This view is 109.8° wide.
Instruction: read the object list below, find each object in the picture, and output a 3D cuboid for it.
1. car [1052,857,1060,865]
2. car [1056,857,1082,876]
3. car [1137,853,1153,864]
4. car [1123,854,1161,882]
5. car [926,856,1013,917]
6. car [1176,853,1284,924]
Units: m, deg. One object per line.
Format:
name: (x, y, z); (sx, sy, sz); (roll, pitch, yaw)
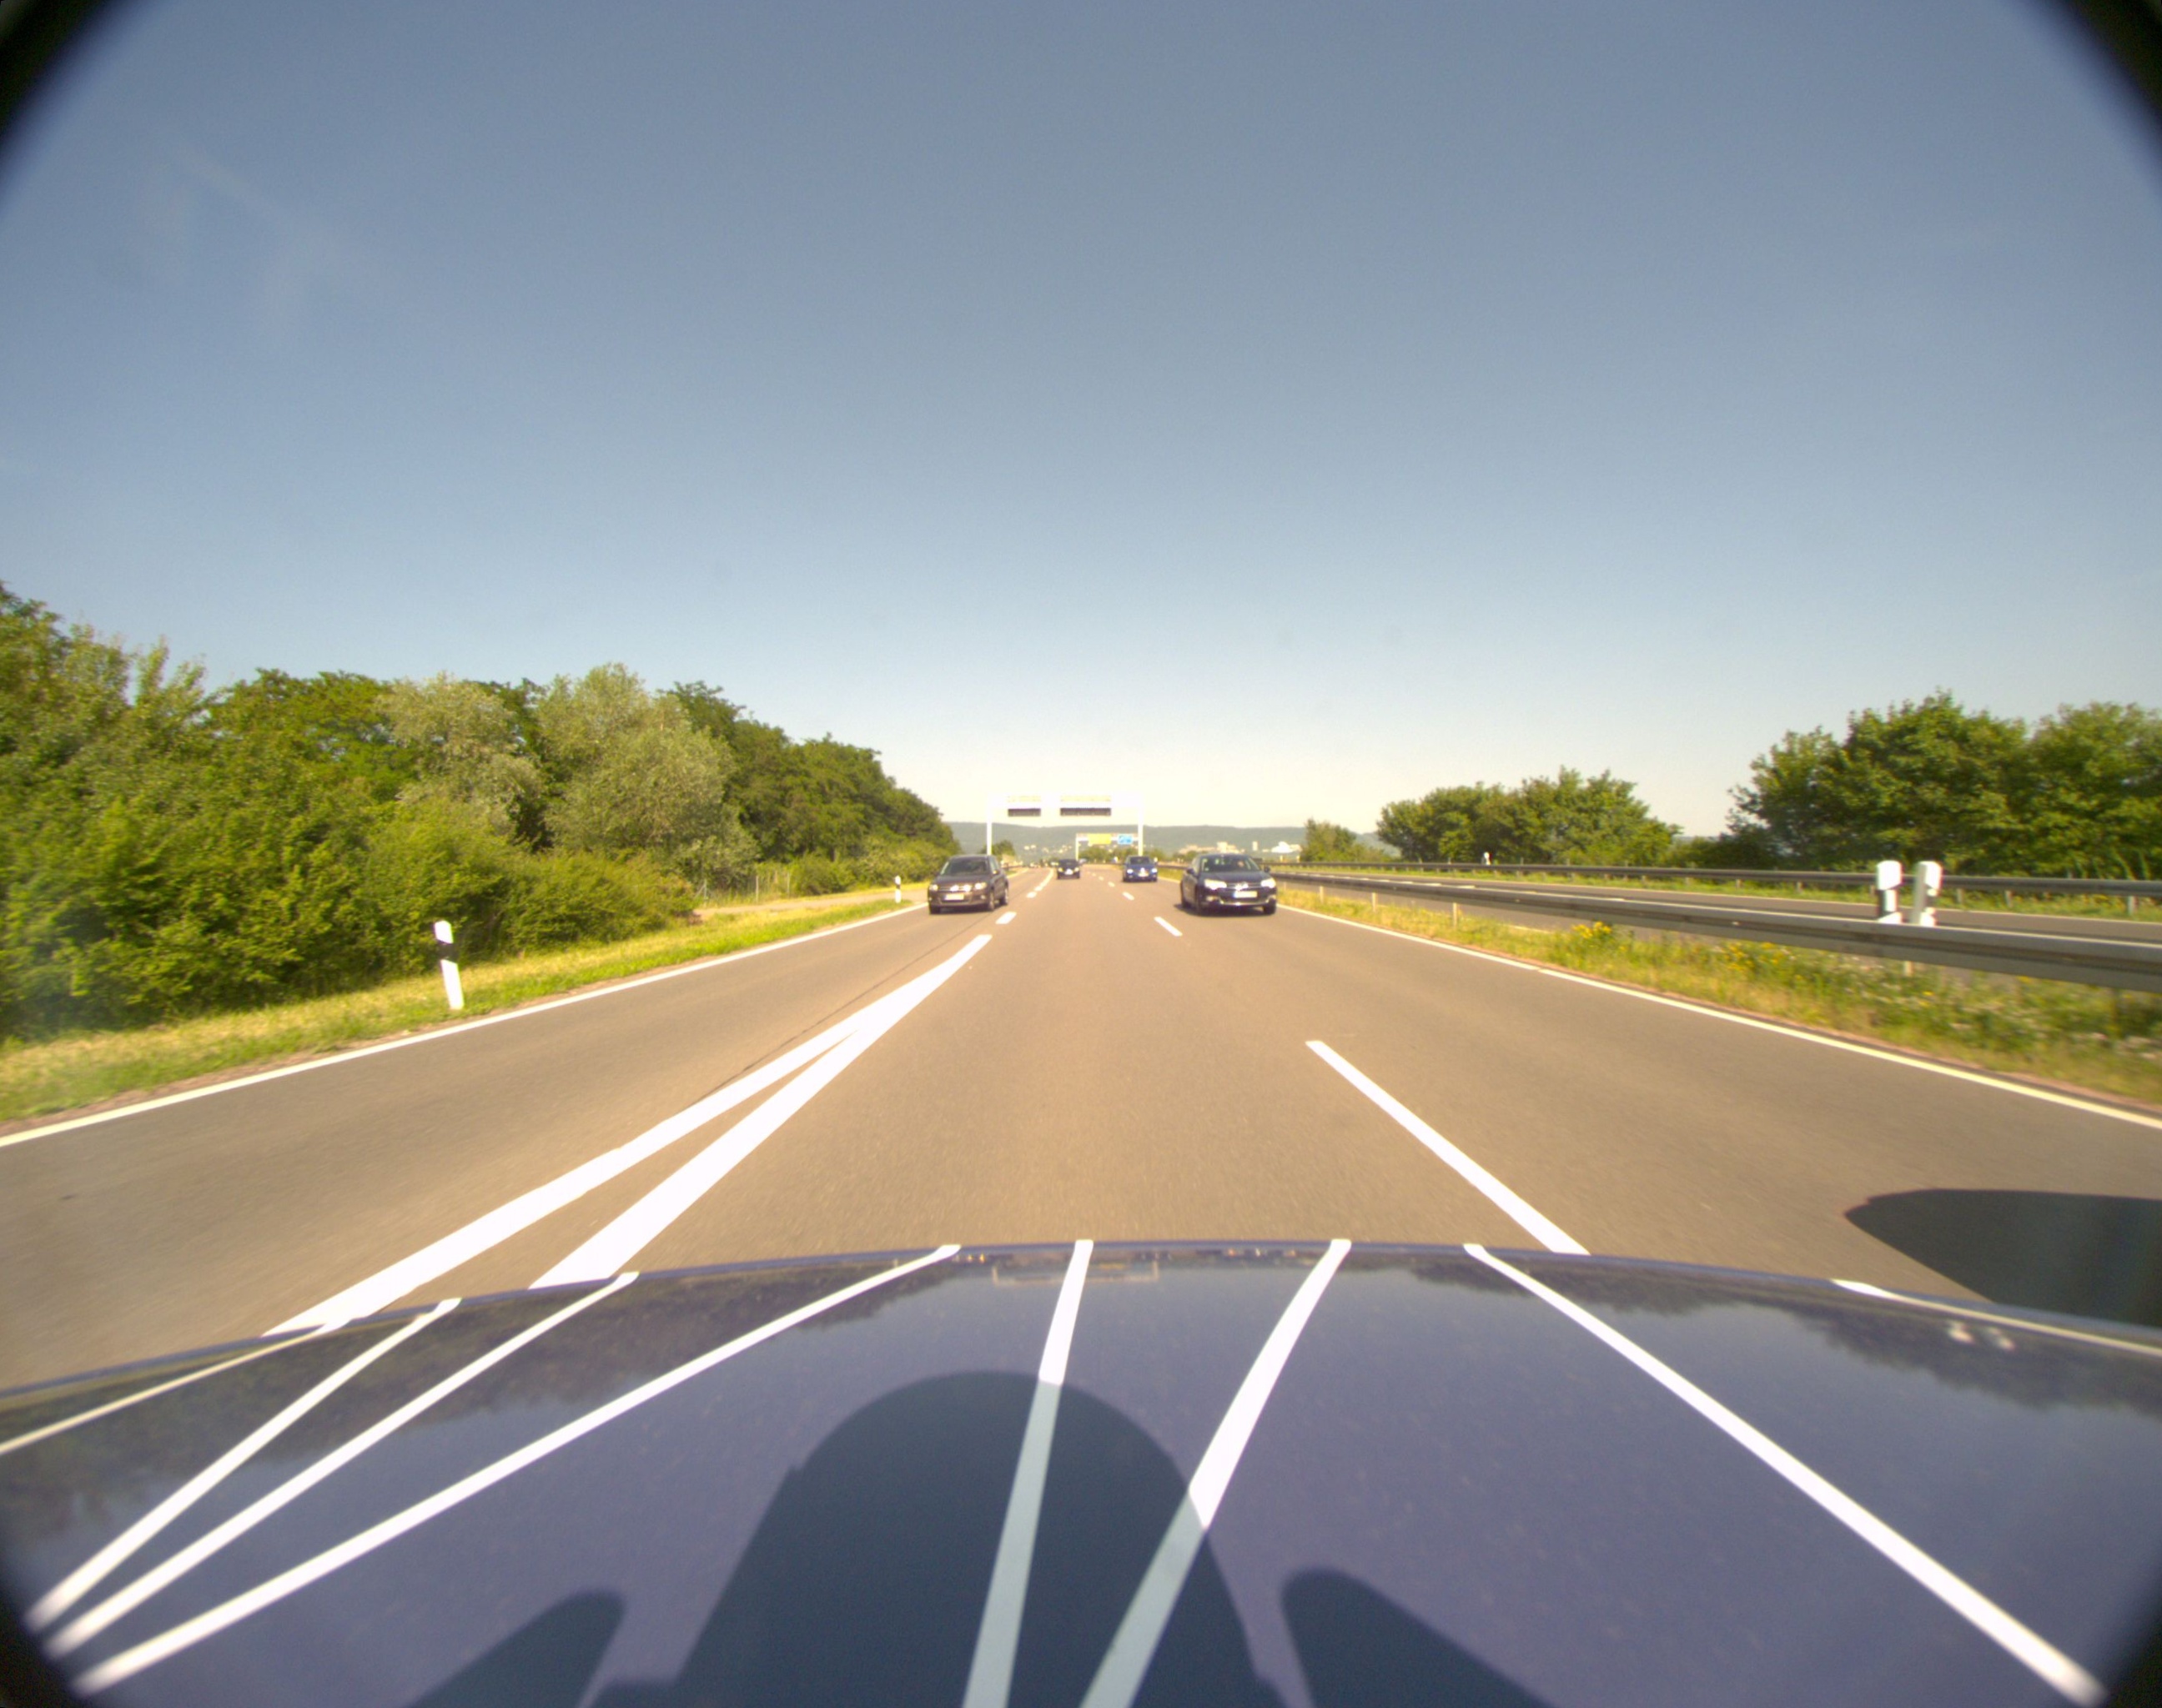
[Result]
car: (-5.270, 1.495, 159.662); (1.677, 1.521, 4.000); (-2, -1, -2)
car: (-0.853, 0.894, 53.456); (1.601, 1.241, 3.999); (-2, -1, -4)
car: (10.774, 0.759, 128.251); (1.907, 1.611, 4.627); (-2, 0, -5)
car: (3.318, 0.709, 41.670); (1.652, 1.403, 3.775); (-2, 0, -2)
car: (-3.246, 0.918, 22.906); (1.789, 1.636, 4.149); (-2, -1, 2)
car: (3.566, 0.776, 19.007); (1.788, 1.524, 4.375); (-2, 0, 0)
